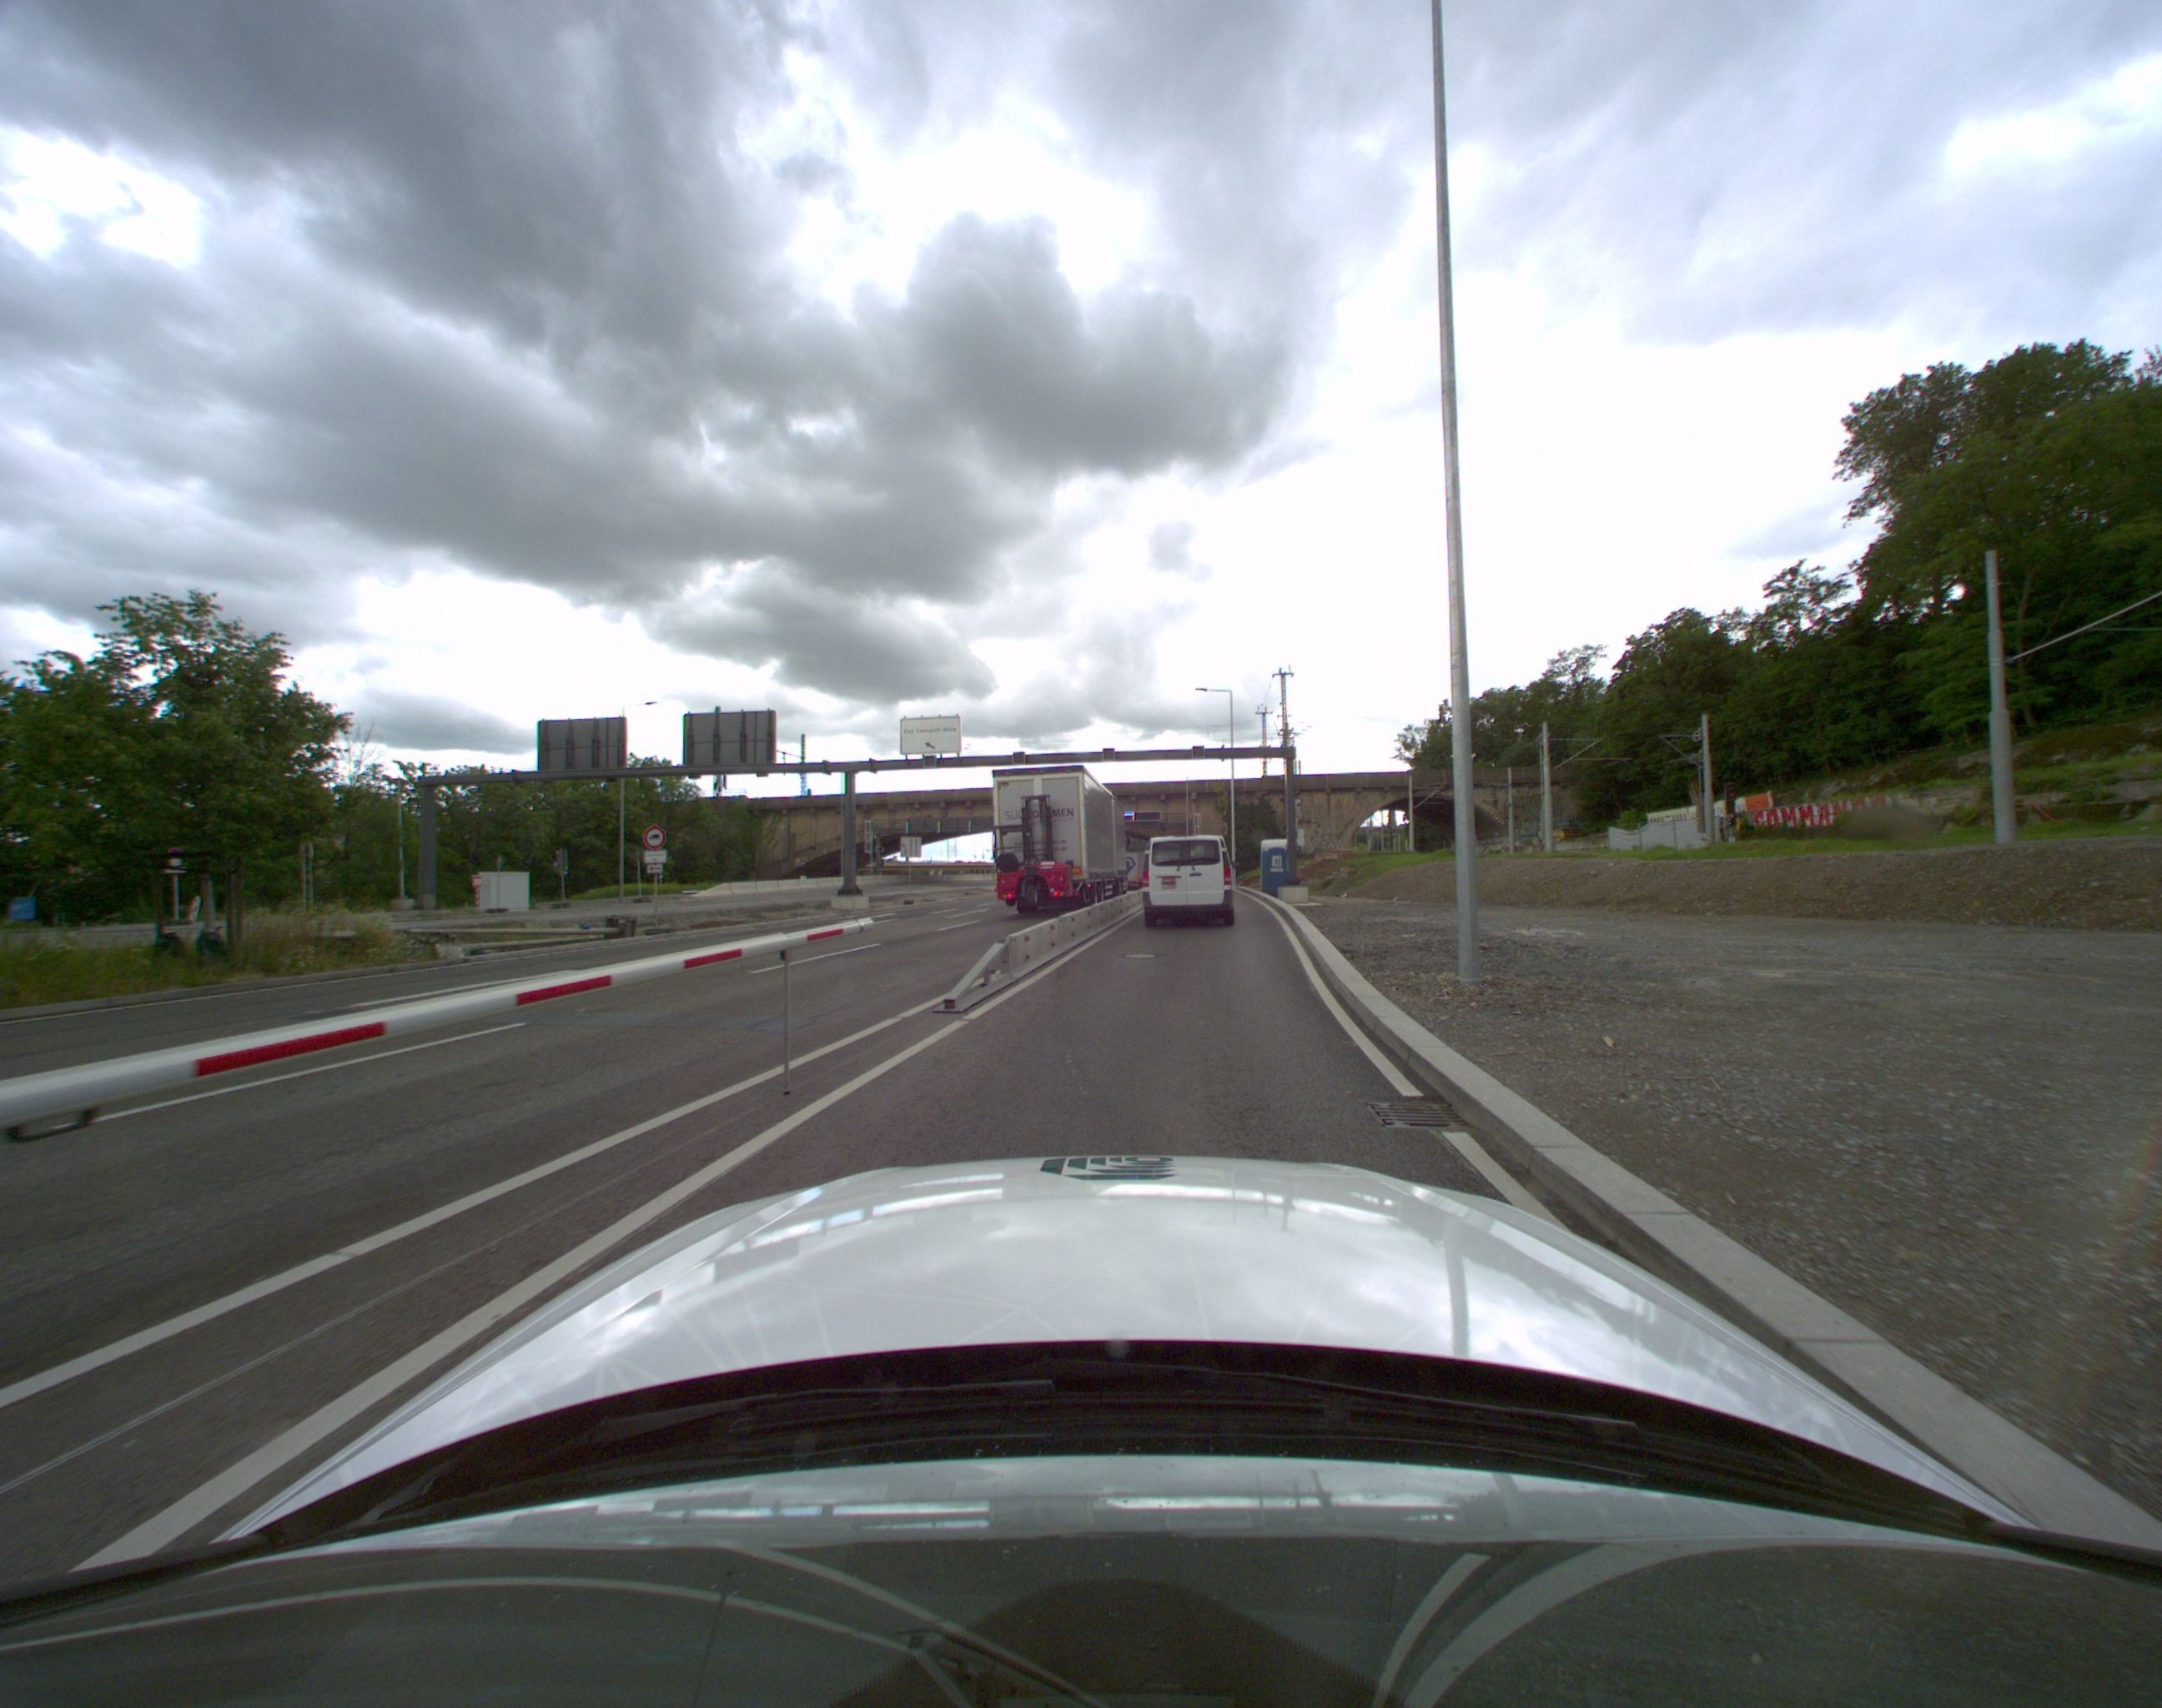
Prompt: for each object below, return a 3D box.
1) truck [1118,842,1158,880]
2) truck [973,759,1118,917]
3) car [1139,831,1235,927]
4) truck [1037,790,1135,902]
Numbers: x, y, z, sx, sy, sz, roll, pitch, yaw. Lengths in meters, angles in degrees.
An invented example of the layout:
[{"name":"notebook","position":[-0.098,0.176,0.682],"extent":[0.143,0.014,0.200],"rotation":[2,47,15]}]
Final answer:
[{"name":"truck","position":[6.517,0.871,90.590],"extent":[3.298,3.810,16.627],"rotation":[1,-1,8]},{"name":"truck","position":[-0.701,-0.330,25.933],"extent":[2.902,4.017,10.220],"rotation":[0,-1,7]},{"name":"car","position":[2.540,0.500,18.488],"extent":[1.864,1.891,4.767],"rotation":[-1,0,11]},{"name":"truck","position":[0.554,-0.168,35.917],"extent":[2.971,4.176,11.261],"rotation":[0,-1,7]}]
